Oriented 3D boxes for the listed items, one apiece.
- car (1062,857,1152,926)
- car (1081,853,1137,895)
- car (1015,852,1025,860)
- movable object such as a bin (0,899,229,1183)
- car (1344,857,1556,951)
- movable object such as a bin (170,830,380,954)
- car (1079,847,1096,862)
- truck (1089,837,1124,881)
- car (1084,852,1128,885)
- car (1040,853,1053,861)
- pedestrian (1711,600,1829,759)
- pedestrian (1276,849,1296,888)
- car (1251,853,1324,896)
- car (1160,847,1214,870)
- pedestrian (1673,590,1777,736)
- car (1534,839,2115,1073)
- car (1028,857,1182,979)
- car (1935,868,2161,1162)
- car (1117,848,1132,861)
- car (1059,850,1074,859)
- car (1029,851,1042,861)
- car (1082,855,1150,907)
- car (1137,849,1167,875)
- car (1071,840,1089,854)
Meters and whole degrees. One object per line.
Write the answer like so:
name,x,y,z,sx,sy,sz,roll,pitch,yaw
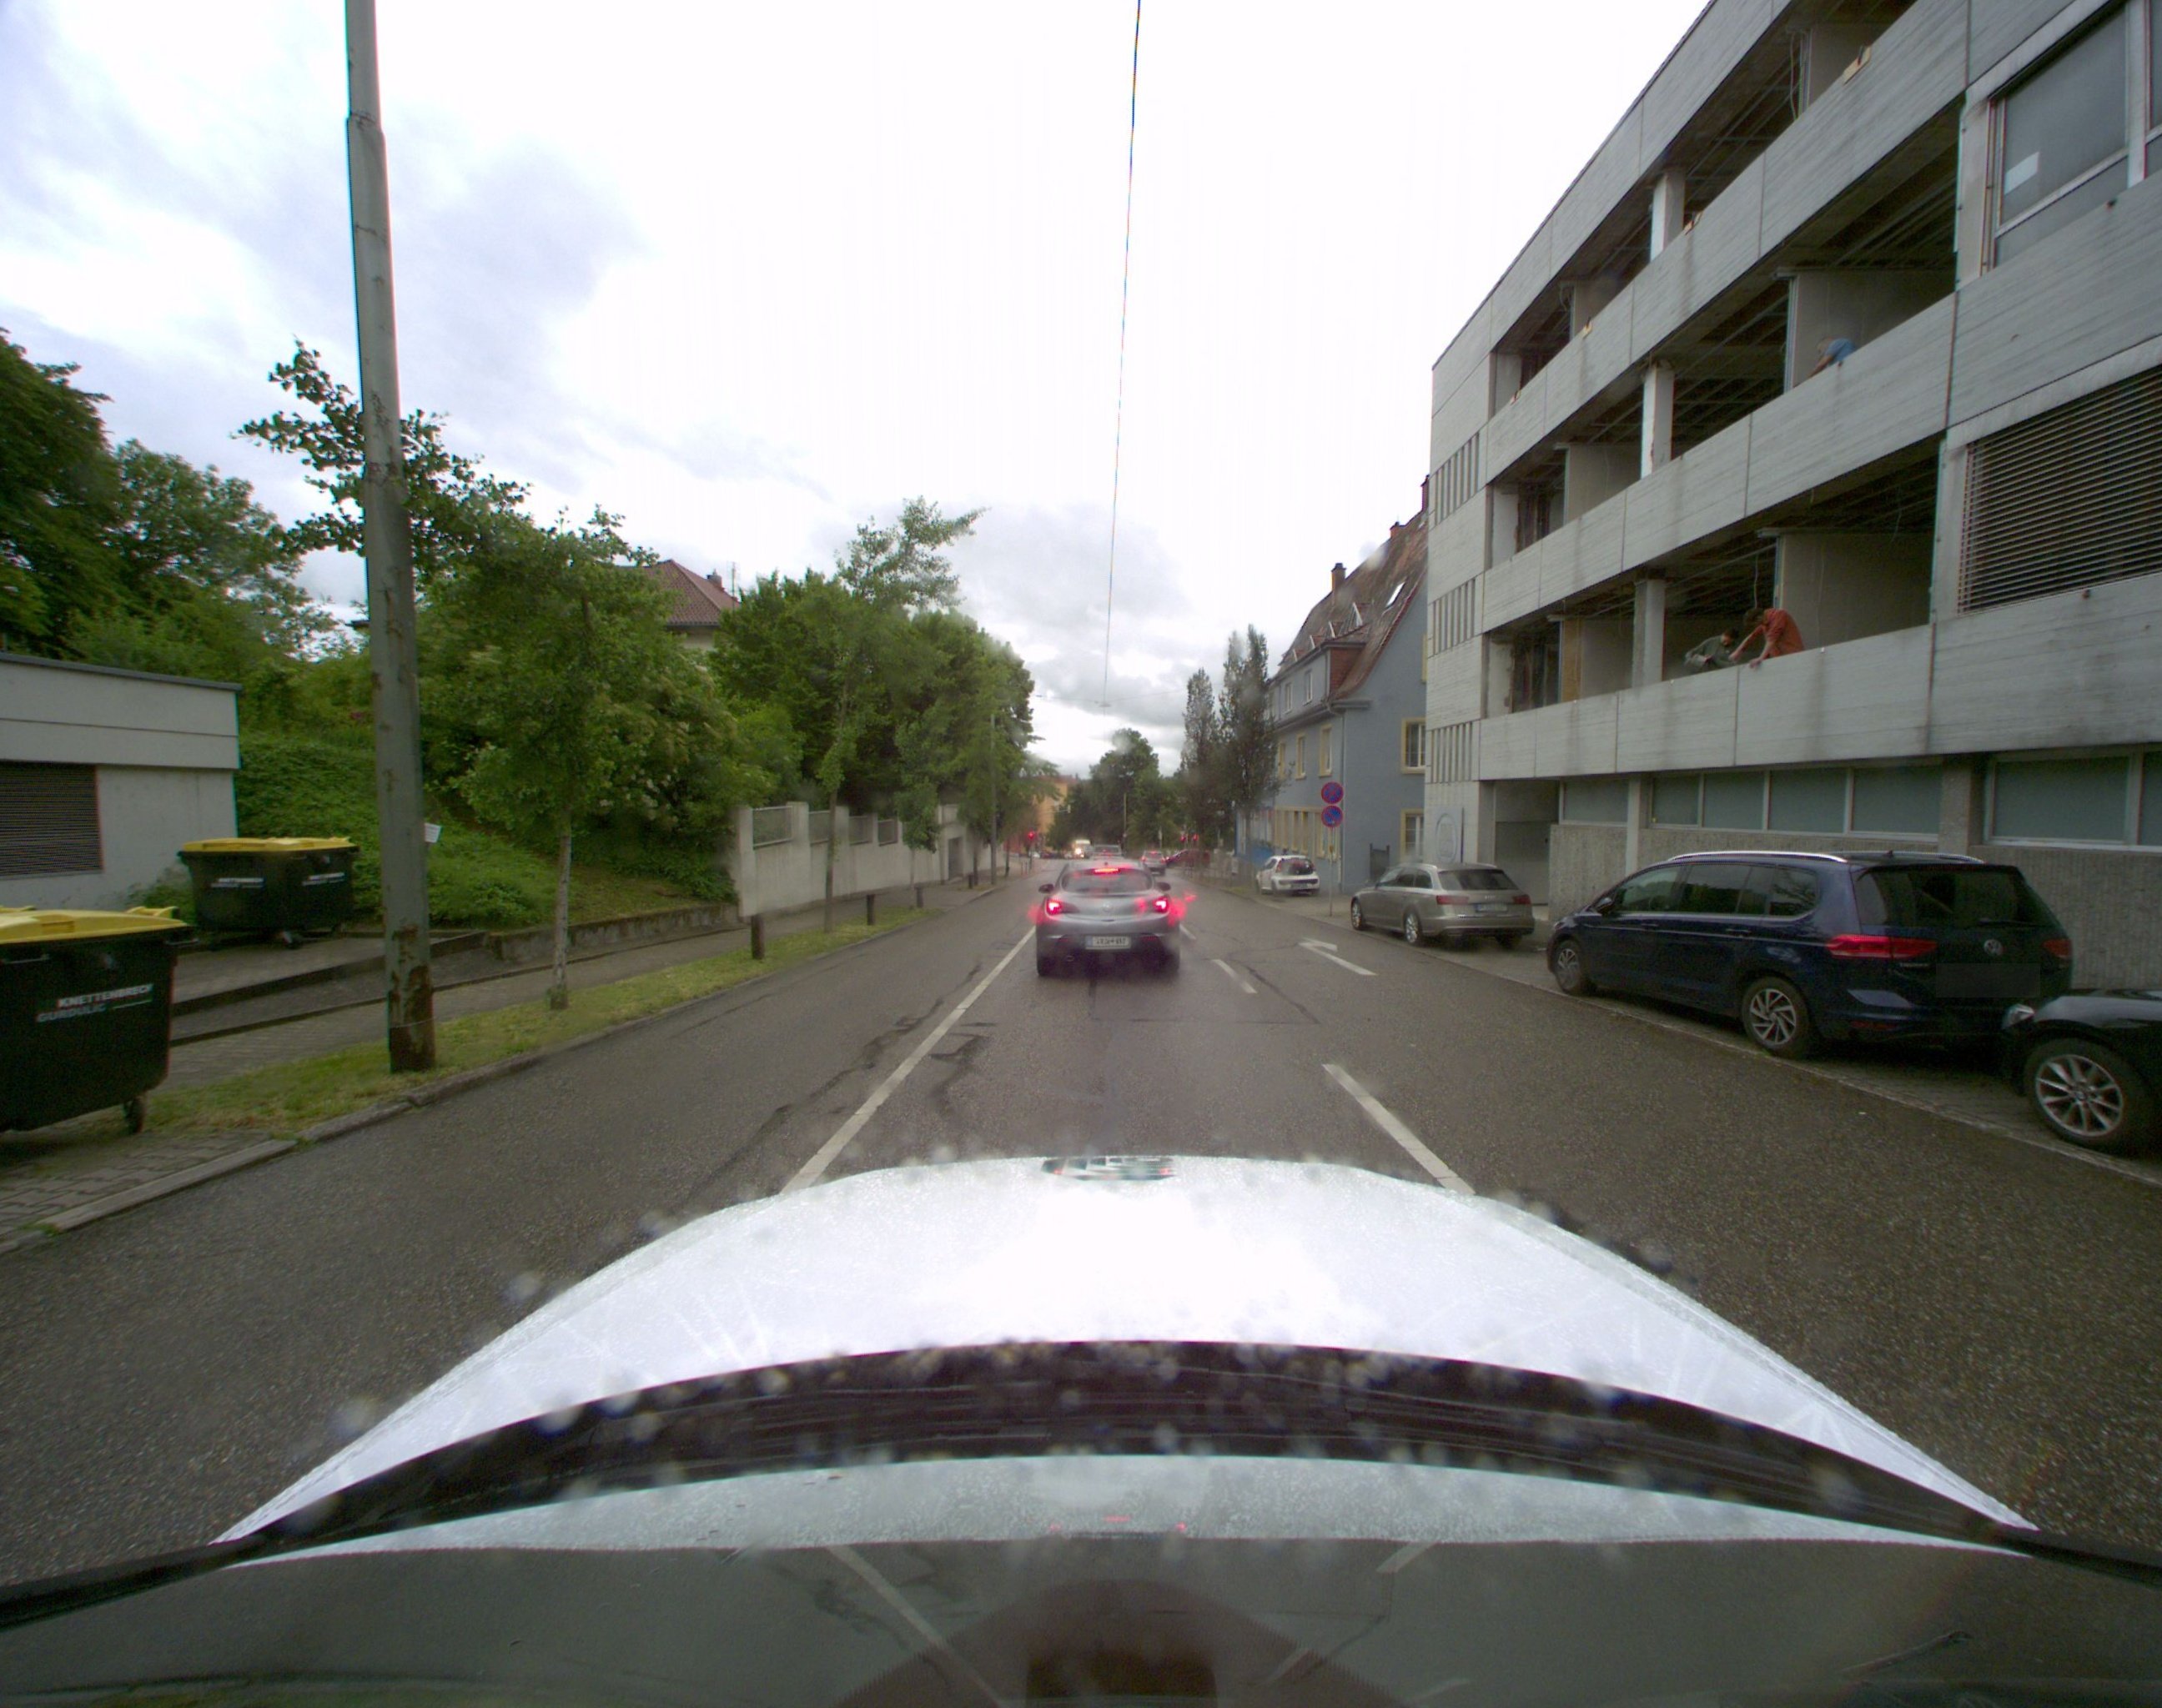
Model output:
car,0.604,0.822,20.010,1.955,1.448,4.305,1,0,1
car,1.033,0.712,31.110,1.955,1.448,4.305,1,0,1
car,-12.417,0.365,166.763,1.722,1.638,3.867,0,0,-9
movable object such as a bin,-5.952,0.944,4.477,1.296,1.306,1.153,0,1,-7
car,6.655,0.810,15.346,1.956,1.448,4.526,-1,0,0
movable object such as a bin,-10.000,0.438,10.204,1.296,1.363,1.225,0,6,-5
car,0.799,0.060,94.344,1.864,1.638,3.880,-1,0,1
truck,1.495,0.268,48.776,1.955,2.429,4.936,1,0,1
car,1.164,0.665,38.774,1.955,1.448,4.305,1,0,1
car,-6.871,0.614,160.063,1.726,1.638,3.858,-1,0,-16
pedestrian,9.533,-2.381,11.302,0.904,2.014,0.861,0,-1,1
pedestrian,9.377,0.658,37.256,0.780,1.729,0.651,1,0,1
car,7.577,0.711,30.217,1.717,1.448,3.880,-1,0,1
car,9.292,0.374,71.576,4.434,1.828,1.750,-2,-1,-3
pedestrian,9.768,-2.874,12.388,0.904,2.014,0.861,0,-1,1
car,6.326,0.708,7.740,1.723,1.599,4.160,-1,0,0
car,0.285,0.770,11.653,1.831,1.434,3.879,0,0,0
car,6.257,0.825,3.104,1.740,1.448,4.256,-1,0,4
car,5.876,0.039,110.532,1.718,1.638,3.877,-1,0,-2
car,-2.499,0.128,141.187,1.726,1.543,3.858,-1,0,-16
car,-7.206,0.316,128.460,1.717,1.460,3.880,-1,0,1
car,1.034,0.789,25.726,1.955,1.448,4.305,1,0,1
car,4.887,0.531,56.732,1.717,1.714,3.879,-1,0,0
car,-0.125,-0.838,102.014,1.721,1.638,3.870,-1,0,-7
